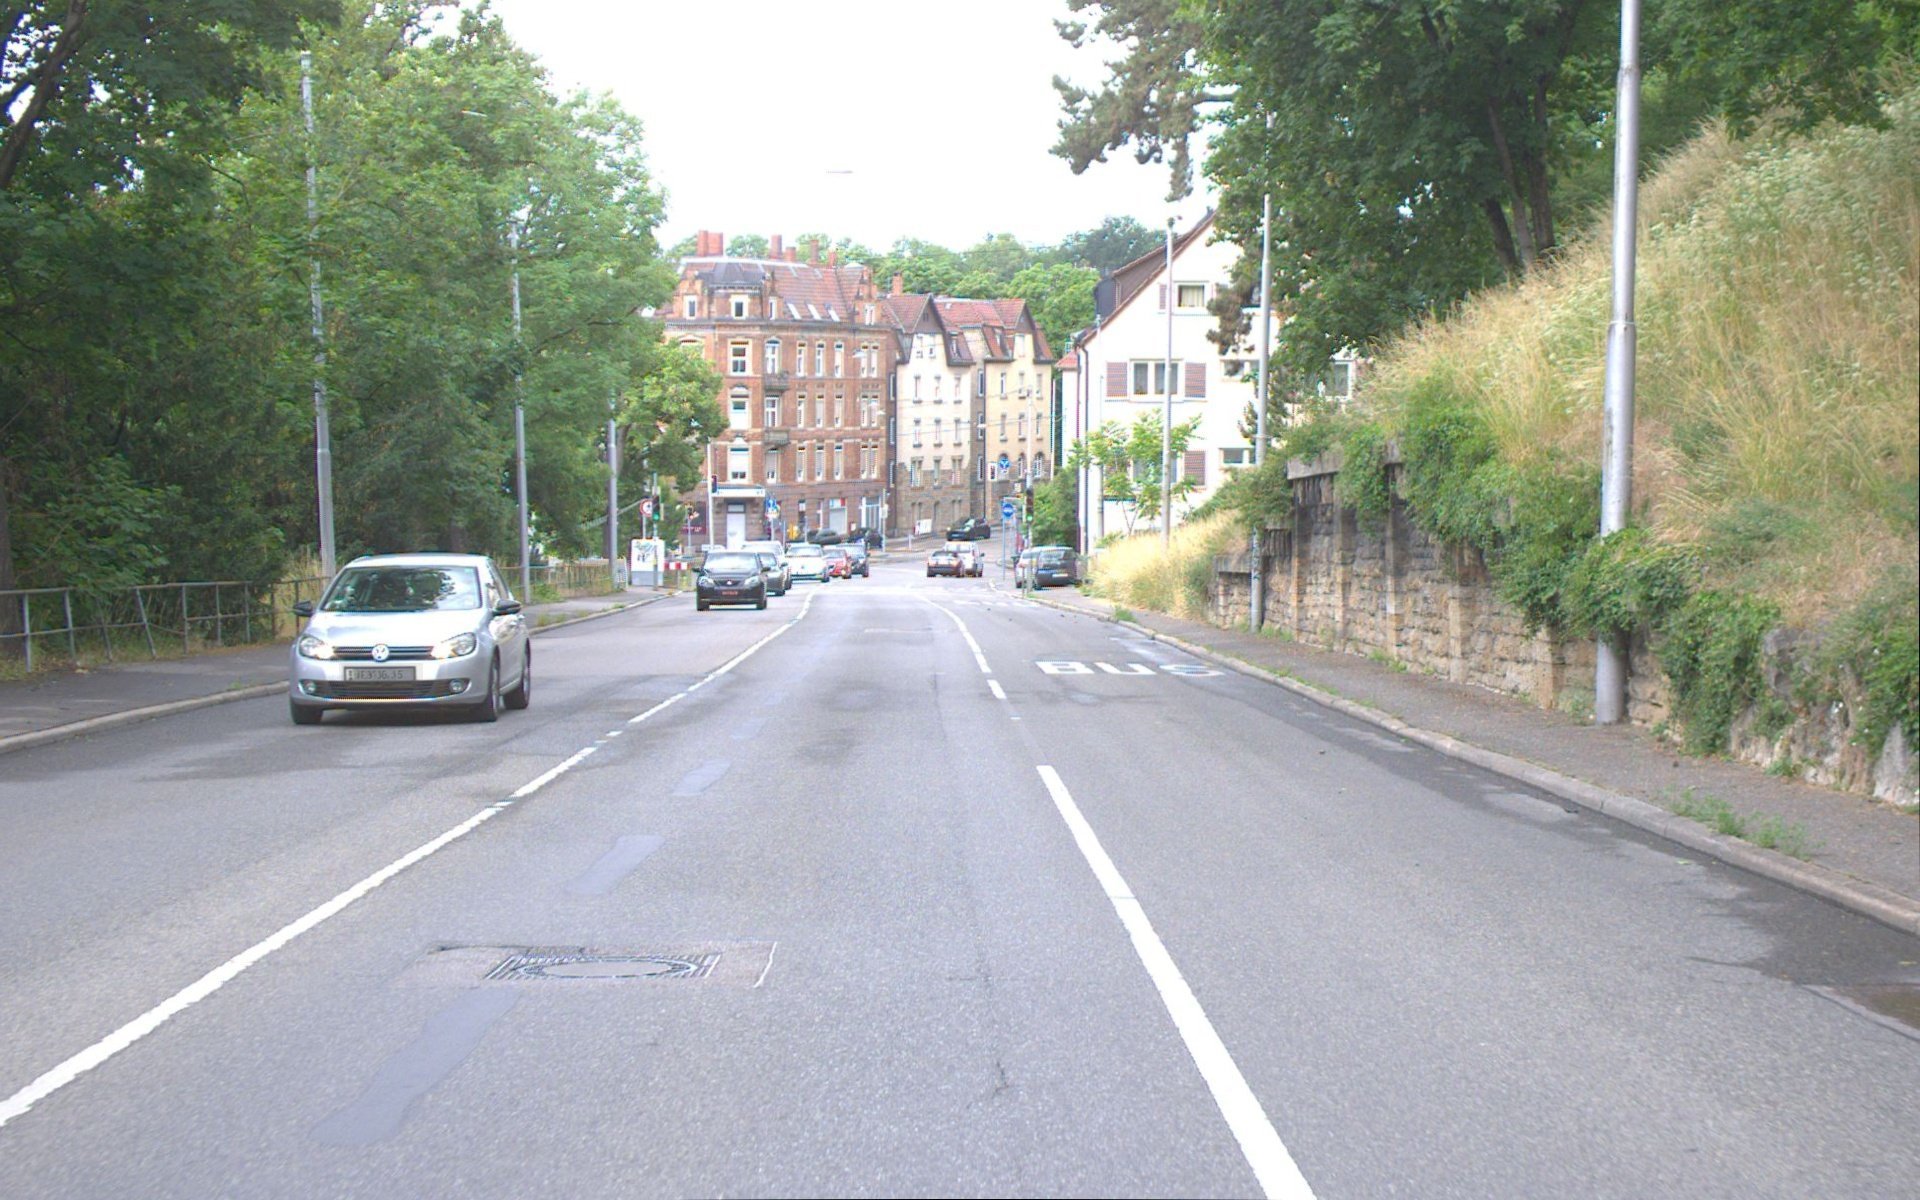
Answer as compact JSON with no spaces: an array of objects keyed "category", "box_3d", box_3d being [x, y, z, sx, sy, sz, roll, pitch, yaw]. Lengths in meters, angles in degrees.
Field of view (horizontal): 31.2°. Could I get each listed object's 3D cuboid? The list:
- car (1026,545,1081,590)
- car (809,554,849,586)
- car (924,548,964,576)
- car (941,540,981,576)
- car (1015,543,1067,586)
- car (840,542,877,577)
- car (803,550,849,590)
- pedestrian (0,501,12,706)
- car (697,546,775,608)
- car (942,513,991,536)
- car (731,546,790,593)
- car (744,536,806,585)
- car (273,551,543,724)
[{"category":"car","box_3d":[3.263,-1.125,120.287,1.681,1.446,4.000,-4,0,-1]},{"category":"car","box_3d":[-6.056,-1.402,159.179,1.783,1.454,4.429,-1,1,-2]},{"category":"car","box_3d":[-0.836,-1.993,180.683,1.816,1.425,4.000,2,1,4]},{"category":"car","box_3d":[0.057,-2.280,187.475,1.909,1.877,4.000,1,1,4]},{"category":"car","box_3d":[3.054,-1.355,129.149,1.794,1.446,4.718,-3,1,2]},{"category":"car","box_3d":[-5.235,-2.074,177.440,1.783,1.740,4.429,-1,1,-1]},{"category":"car","box_3d":[-5.497,-1.245,141.475,1.783,1.569,4.281,-1,1,-2]},{"category":"pedestrian","box_3d":[-8.587,0.023,29.080,0.788,1.768,1.209,3,1,-3]},{"category":"car","box_3d":[-5.415,-0.582,83.366,1.669,1.442,3.688,-1,1,0]},{"category":"car","box_3d":[0.491,-5.404,245.316,1.984,1.569,4.370,-2,1,21]},{"category":"car","box_3d":[-6.215,-0.959,107.445,1.712,1.422,4.139,-1,1,-2]},{"category":"car","box_3d":[-6.580,-1.427,122.580,1.995,1.677,4.664,-1,1,-1]},{"category":"car","box_3d":[-4.891,0.286,30.994,1.794,1.422,4.143,-1,1,-1]}]
